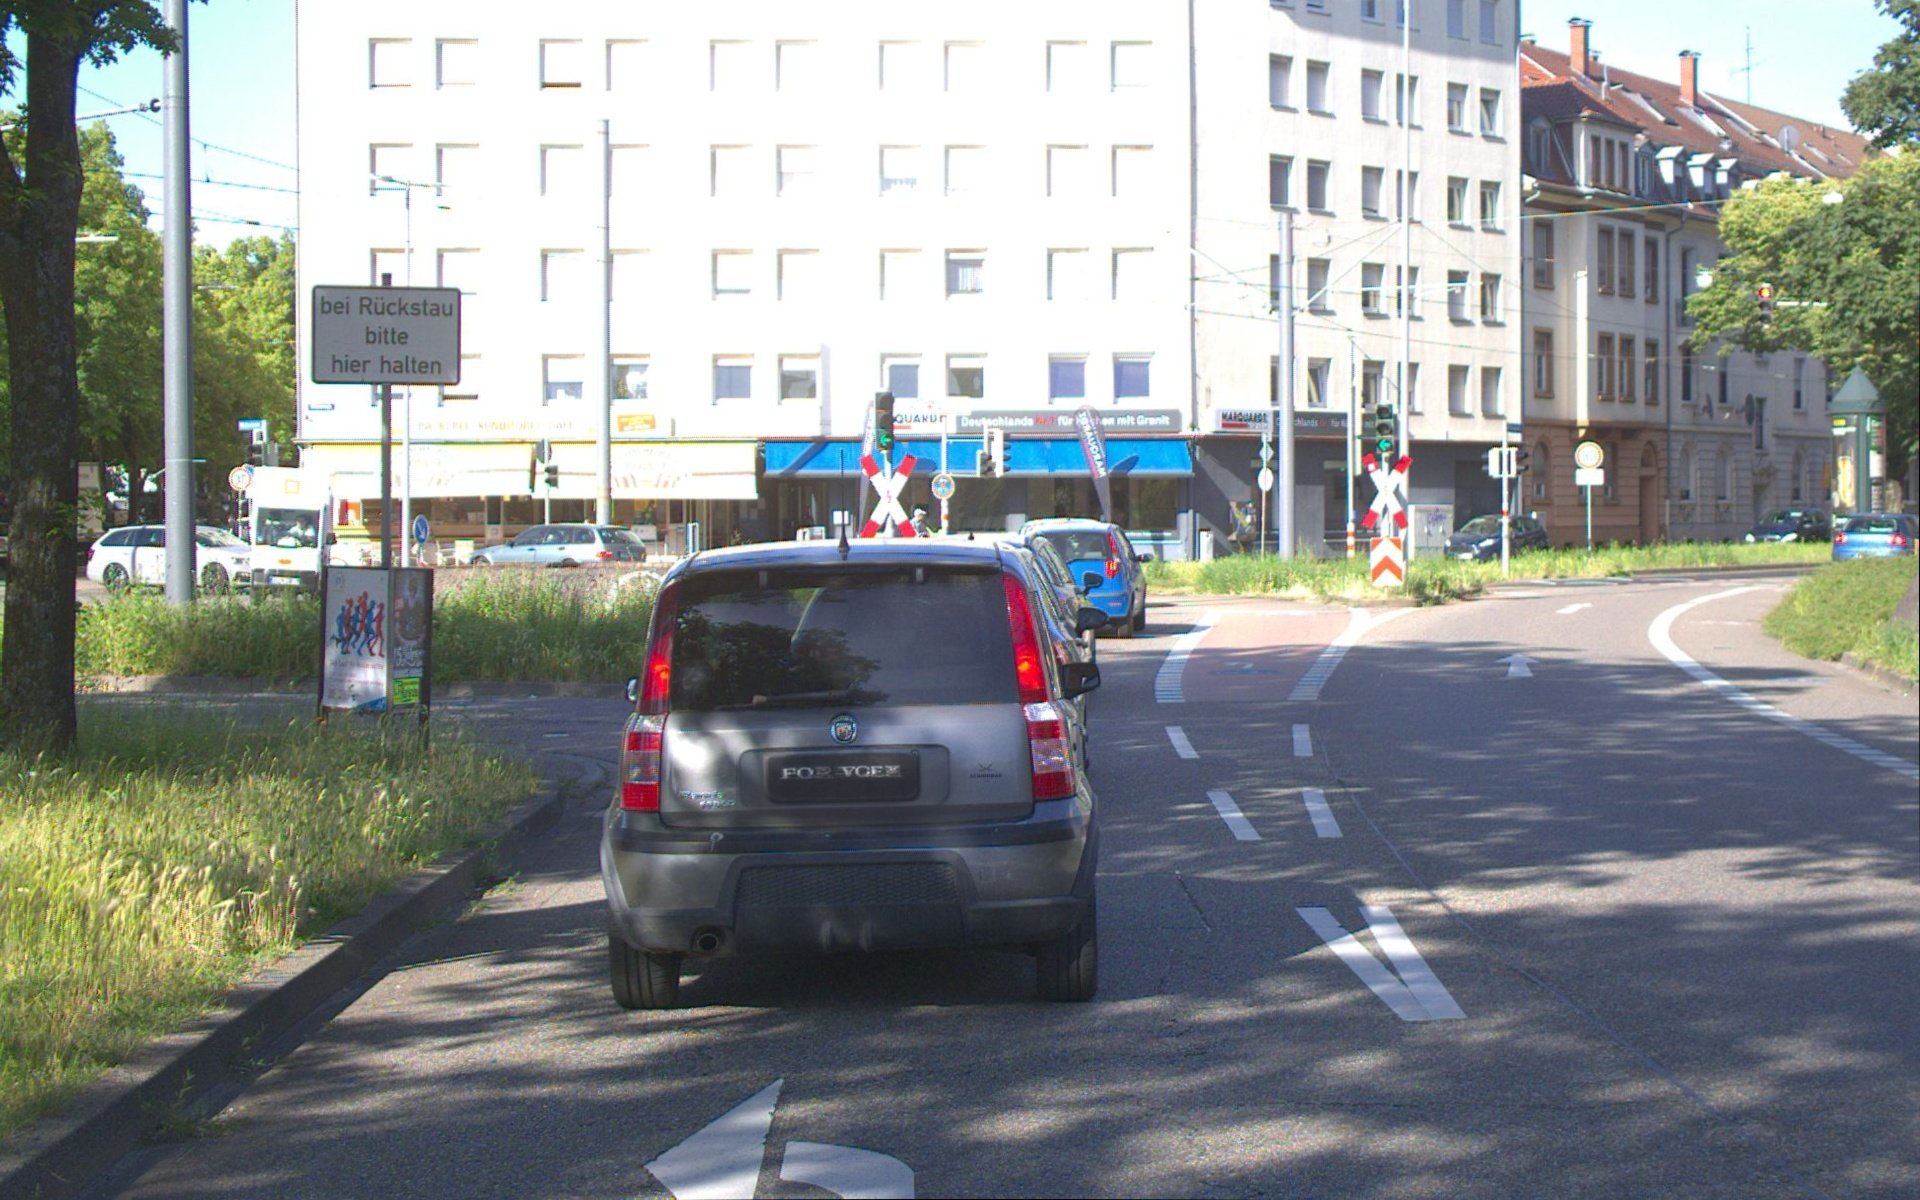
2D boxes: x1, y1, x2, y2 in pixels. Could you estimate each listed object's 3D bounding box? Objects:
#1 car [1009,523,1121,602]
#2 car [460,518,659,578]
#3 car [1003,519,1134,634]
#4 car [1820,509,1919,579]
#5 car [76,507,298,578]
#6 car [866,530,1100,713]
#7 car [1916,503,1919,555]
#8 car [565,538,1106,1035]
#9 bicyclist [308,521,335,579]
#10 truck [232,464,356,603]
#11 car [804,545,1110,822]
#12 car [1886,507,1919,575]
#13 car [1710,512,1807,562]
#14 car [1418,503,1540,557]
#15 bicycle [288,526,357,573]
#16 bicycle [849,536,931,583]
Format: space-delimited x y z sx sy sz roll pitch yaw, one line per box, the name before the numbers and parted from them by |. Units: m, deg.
car | 1.700 -0.623 56.597 1.690 1.249 3.626 0 1 0
car | -8.778 -1.155 75.281 3.995 1.238 1.996 1 2 35
car | 1.413 -0.338 44.839 1.646 1.433 3.396 0 1 2
car | 20.086 -1.243 74.567 1.778 1.437 3.612 1 2 31
car | -16.029 -1.206 71.280 4.394 1.443 1.666 1 1 26
car | 0.273 0.132 30.296 1.760 1.481 4.293 0 1 4
car | 31.183 -2.171 105.361 1.904 1.588 4.001 -1 2 -14
car | -0.375 0.545 12.199 1.660 1.505 3.252 0 1 0
bicyclist | -14.970 -1.183 80.610 0.595 1.352 0.532 0 1 -10
truck | -11.985 -1.204 62.110 1.787 2.418 4.111 0 1 -5
car | -0.089 0.412 20.046 1.621 1.424 3.689 0 1 -2
car | 22.724 -1.371 78.733 1.823 1.503 3.993 0 2 32
car | 25.369 -2.014 109.163 1.794 1.560 3.759 1 2 34
car | 13.832 -1.872 91.522 1.794 1.391 3.718 1 2 34
bicycle | -14.945 -1.183 80.633 1.579 1.086 0.532 0 1 -10
bicycle | -1.484 -0.860 72.716 0.783 0.948 1.856 1 1 -37
